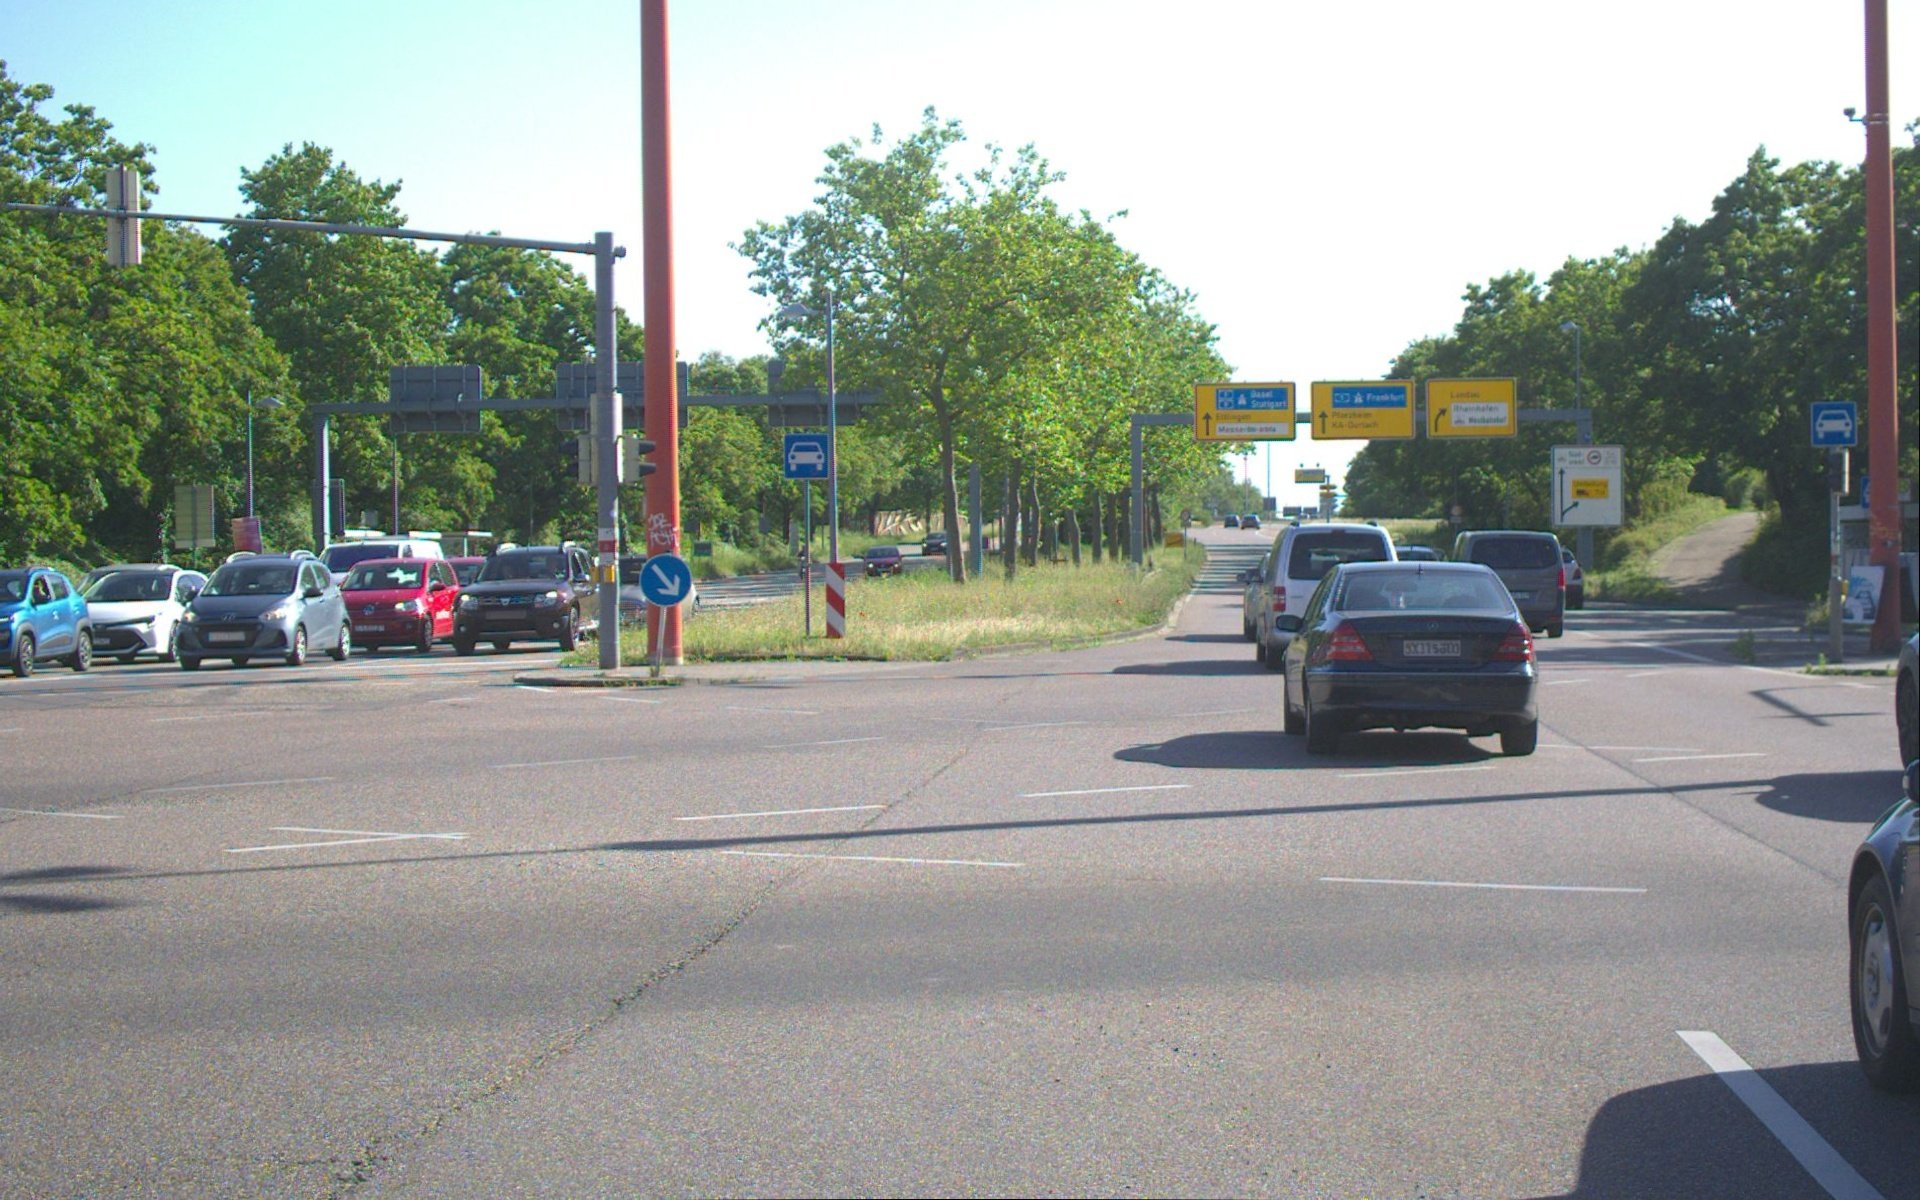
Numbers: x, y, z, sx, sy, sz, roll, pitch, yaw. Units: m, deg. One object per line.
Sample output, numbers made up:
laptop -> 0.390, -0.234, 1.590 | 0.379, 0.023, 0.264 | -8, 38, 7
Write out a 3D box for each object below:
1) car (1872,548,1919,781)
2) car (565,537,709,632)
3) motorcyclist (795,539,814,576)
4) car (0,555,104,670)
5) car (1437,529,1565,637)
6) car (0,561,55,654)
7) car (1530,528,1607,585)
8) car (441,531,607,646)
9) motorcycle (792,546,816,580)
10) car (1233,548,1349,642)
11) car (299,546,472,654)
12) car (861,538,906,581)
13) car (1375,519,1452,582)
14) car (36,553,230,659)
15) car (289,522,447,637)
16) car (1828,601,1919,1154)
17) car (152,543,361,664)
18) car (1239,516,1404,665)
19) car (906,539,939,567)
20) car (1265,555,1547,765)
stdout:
car -> 7.051, 0.433, 21.586 | 1.768, 1.503, 4.225 | 1, 1, 4
car -> -5.567, -0.298, 59.629 | 1.885, 1.538, 4.000 | -2, 1, 3
motorcyclist -> -7.246, -1.989, 160.615 | 0.773, 1.732, 0.916 | 1, 0, 4
car -> -13.308, 0.160, 47.392 | 1.801, 1.510, 3.858 | -2, 1, 4
car -> 9.706, -0.336, 61.989 | 1.804, 1.845, 5.102 | -1, 1, 4
car -> -16.545, 0.140, 56.755 | 1.885, 1.508, 4.000 | -1, 1, 4
car -> 16.247, -1.154, 91.975 | 1.595, 1.486, 3.681 | 1, 0, 3
car -> -6.570, -0.196, 52.200 | 1.794, 1.620, 4.143 | -2, 1, 2
motorcycle -> -7.263, -1.726, 160.598 | 0.759, 1.604, 2.867 | 1, 0, 4
car -> 5.538, -0.099, 57.954 | 1.805, 1.488, 4.681 | 1, 1, 4
car -> -9.074, -0.030, 54.629 | 1.875, 1.547, 4.000 | -3, 1, 2
car -> -3.396, -1.793, 151.867 | 1.915, 1.840, 3.961 | 0, 1, -2
car -> 11.911, -1.300, 90.451 | 1.716, 1.602, 3.847 | 1, 0, 3
car -> -12.819, 0.066, 53.522 | 1.901, 1.549, 4.000 | -1, 1, 2
car -> -11.483, -0.424, 67.011 | 1.961, 2.147, 5.081 | -1, 1, 3
car -> 3.303, 0.741, 8.055 | 1.718, 1.415, 4.050 | 0, 1, 3
car -> -9.832, 0.017, 48.328 | 1.874, 1.545, 4.027 | -2, 1, 3
car -> 4.613, -0.135, 44.374 | 1.804, 1.815, 4.586 | 0, 0, 2
car -> -2.519, -3.166, 229.329 | 1.915, 1.840, 3.960 | 0, 1, 3
car -> 3.347, 0.397, 26.466 | 1.713, 1.449, 4.198 | -1, 1, 1
